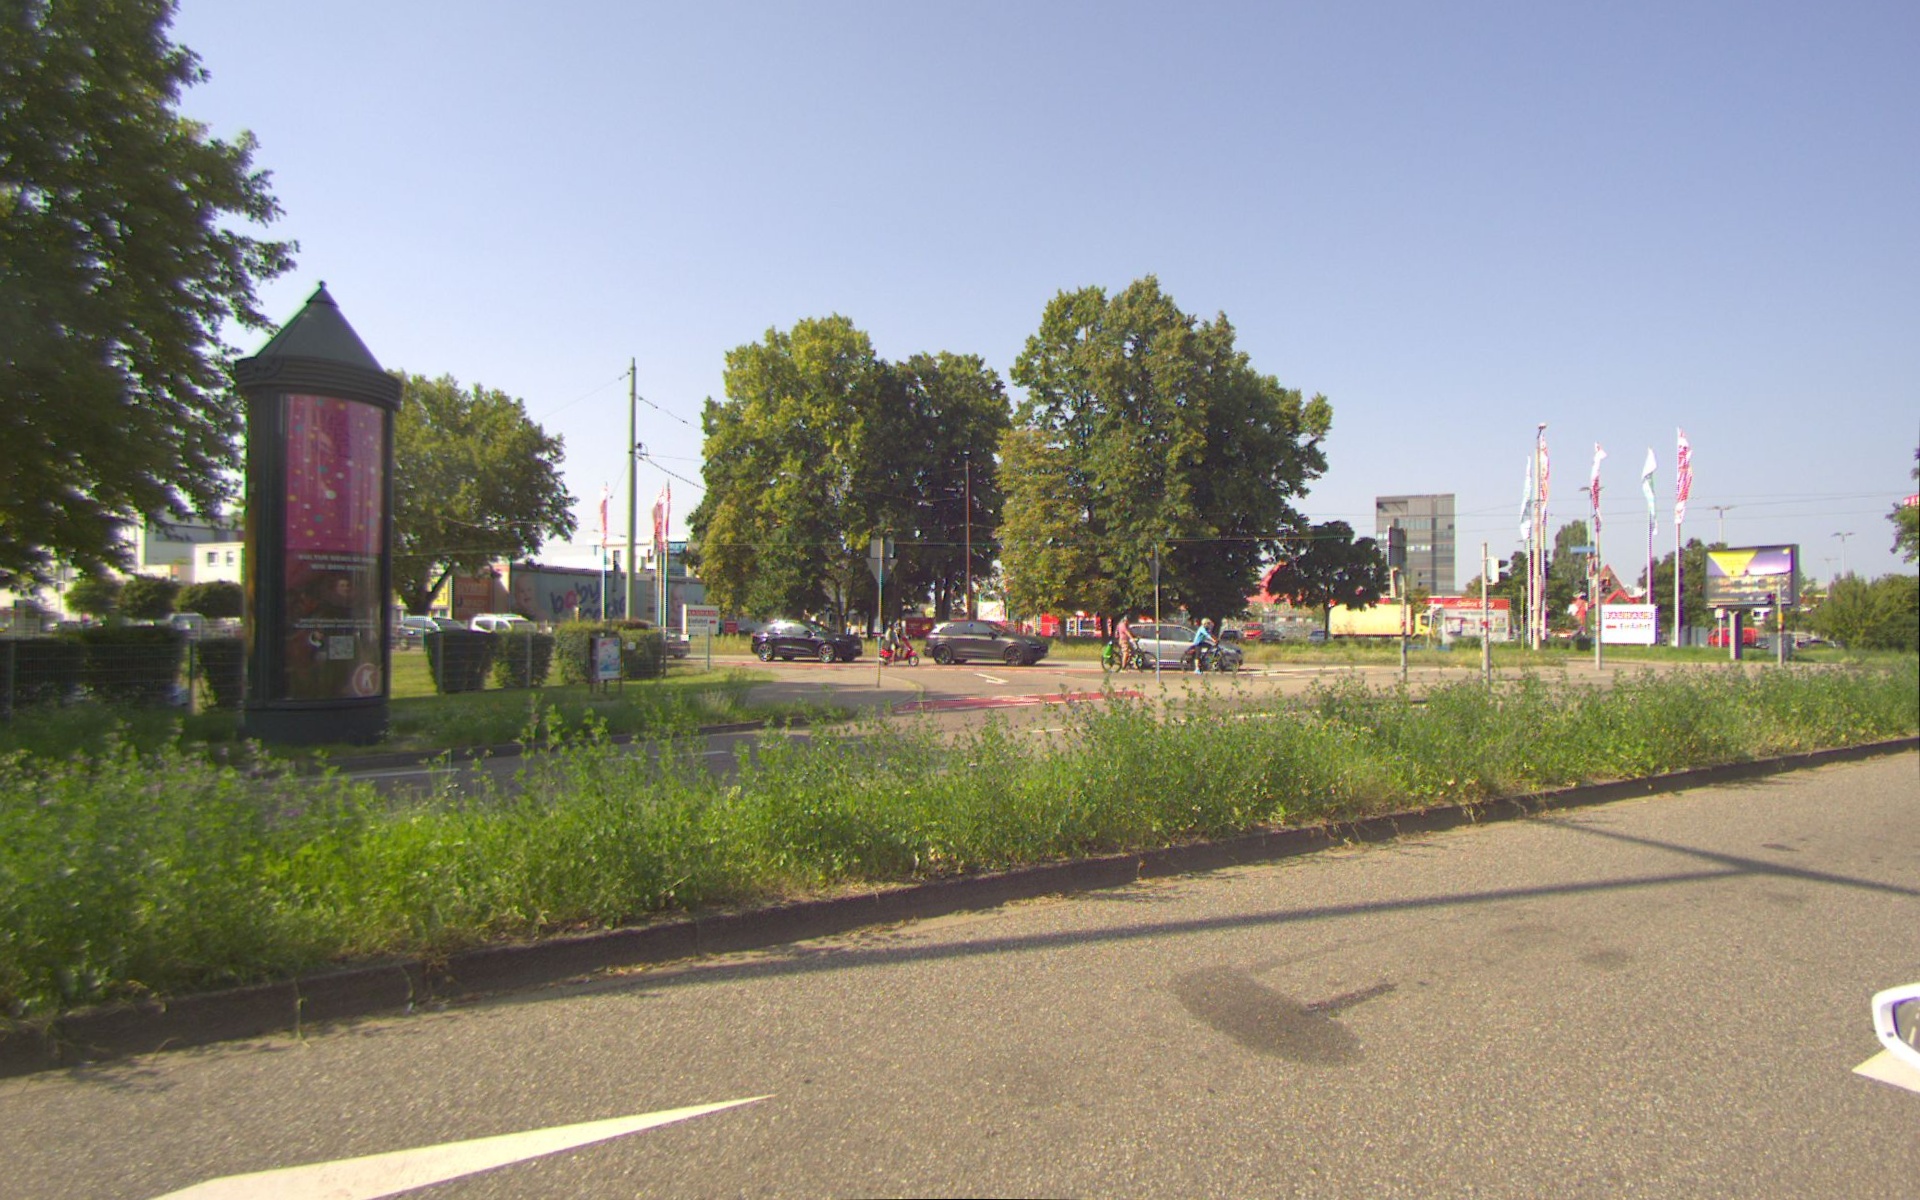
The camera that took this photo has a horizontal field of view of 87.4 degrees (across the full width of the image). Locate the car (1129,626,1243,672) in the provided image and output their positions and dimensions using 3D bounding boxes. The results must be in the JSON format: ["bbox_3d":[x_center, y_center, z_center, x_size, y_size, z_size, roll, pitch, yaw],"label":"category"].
[{"bbox_3d":[7.846,1.669,34.888,3.631,1.462,1.466,0,-1,23],"label":"car"}]

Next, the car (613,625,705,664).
[{"bbox_3d":[-12.808,1.855,42.785,3.425,1.601,1.726,-1,-2,23],"label":"car"}]

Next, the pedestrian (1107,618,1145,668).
[{"bbox_3d":[5.402,1.378,32.697,1.038,1.596,0.868,1,-1,23],"label":"pedestrian"}]

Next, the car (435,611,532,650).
[{"bbox_3d":[-22.052,1.407,46.500,3.923,1.701,1.870,0,-1,23],"label":"car"}]

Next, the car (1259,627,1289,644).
[{"bbox_3d":[23.100,2.596,73.752,1.581,1.150,3.412,0,-1,27],"label":"car"}]

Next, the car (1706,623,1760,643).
[{"bbox_3d":[81.202,3.477,105.582,4.211,2.040,1.998,0,-1,26],"label":"car"}]

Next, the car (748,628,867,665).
[{"bbox_3d":[-6.202,1.857,40.711,4.655,1.462,1.571,-1,-2,23],"label":"car"}]

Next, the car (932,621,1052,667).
[{"bbox_3d":[1.196,1.618,37.831,4.228,1.600,1.571,0,-1,23],"label":"car"}]

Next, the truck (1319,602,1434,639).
[{"bbox_3d":[35.403,1.777,85.517,8.841,2.996,3.513,-1,-2,23],"label":"truck"}]

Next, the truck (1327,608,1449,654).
[{"bbox_3d":[23.182,1.643,54.688,2.084,2.360,5.945,1,-1,-33],"label":"truck"}]

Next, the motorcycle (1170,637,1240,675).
[{"bbox_3d":[7.732,1.753,31.719,2.036,1.151,0.677,0,-1,24],"label":"motorcycle"}]

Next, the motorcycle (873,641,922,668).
[{"bbox_3d":[-2.351,2.043,37.674,1.688,0.957,0.711,0,-1,24],"label":"motorcycle"}]

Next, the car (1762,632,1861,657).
[{"bbox_3d":[41.007,2.114,48.463,1.472,1.152,3.368,1,-2,-22],"label":"car"}]

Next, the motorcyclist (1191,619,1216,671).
[{"bbox_3d":[7.699,1.416,31.740,0.670,1.593,0.683,1,-1,23],"label":"motorcyclist"}]

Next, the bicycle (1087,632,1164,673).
[{"bbox_3d":[5.378,1.702,32.715,2.315,1.252,0.874,0,-1,24],"label":"bicycle"}]

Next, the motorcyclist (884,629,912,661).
[{"bbox_3d":[-2.315,1.683,37.671,0.814,1.194,0.691,1,-1,24],"label":"motorcyclist"}]

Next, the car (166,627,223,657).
[{"bbox_3d":[-41.913,2.288,55.062,1.817,1.565,3.972,1,-2,-28],"label":"car"}]
